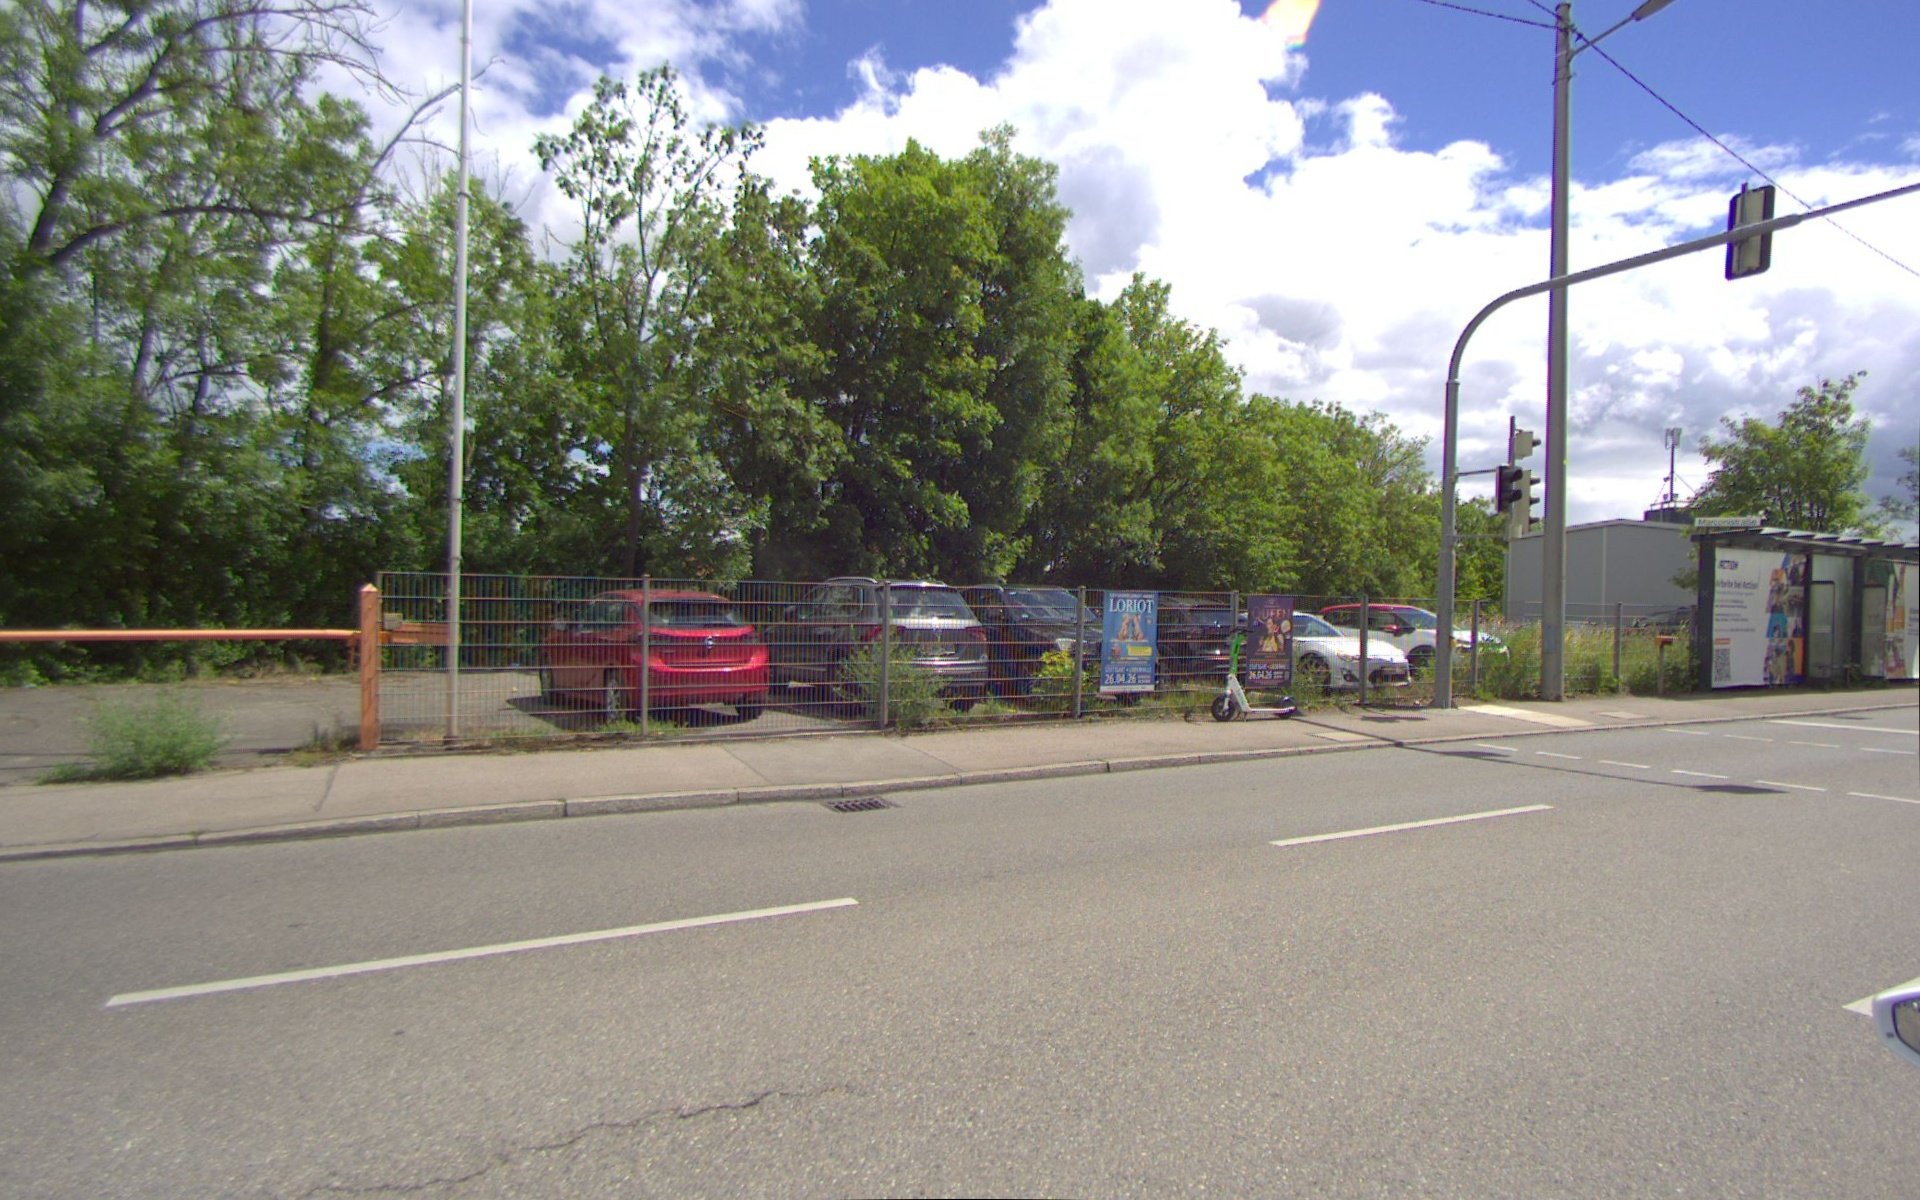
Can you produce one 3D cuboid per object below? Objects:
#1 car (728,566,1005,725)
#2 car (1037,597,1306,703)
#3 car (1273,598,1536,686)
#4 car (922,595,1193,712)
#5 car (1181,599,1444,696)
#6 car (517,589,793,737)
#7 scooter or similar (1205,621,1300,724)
[{"bbox_3d":[-1.402,0.500,13.336,1.979,1.758,4.077,1,0,-34],"label":"car"},{"bbox_3d":[3.245,0.696,16.168,1.978,1.438,4.079,1,0,-32],"label":"car"},{"bbox_3d":[8.326,0.717,19.231,1.999,1.438,4.293,1,0,-28],"label":"car"},{"bbox_3d":[1.271,0.672,14.822,1.977,1.438,4.083,1,0,-30],"label":"car"},{"bbox_3d":[5.924,0.726,17.366,1.893,1.438,4.084,1,0,-29],"label":"car"},{"bbox_3d":[-3.738,0.605,11.887,1.886,1.438,3.822,1,0,-38],"label":"car"},{"bbox_3d":[3.684,0.891,12.651,1.111,1.227,0.422,1,2,-26],"label":"scooter or similar"}]
